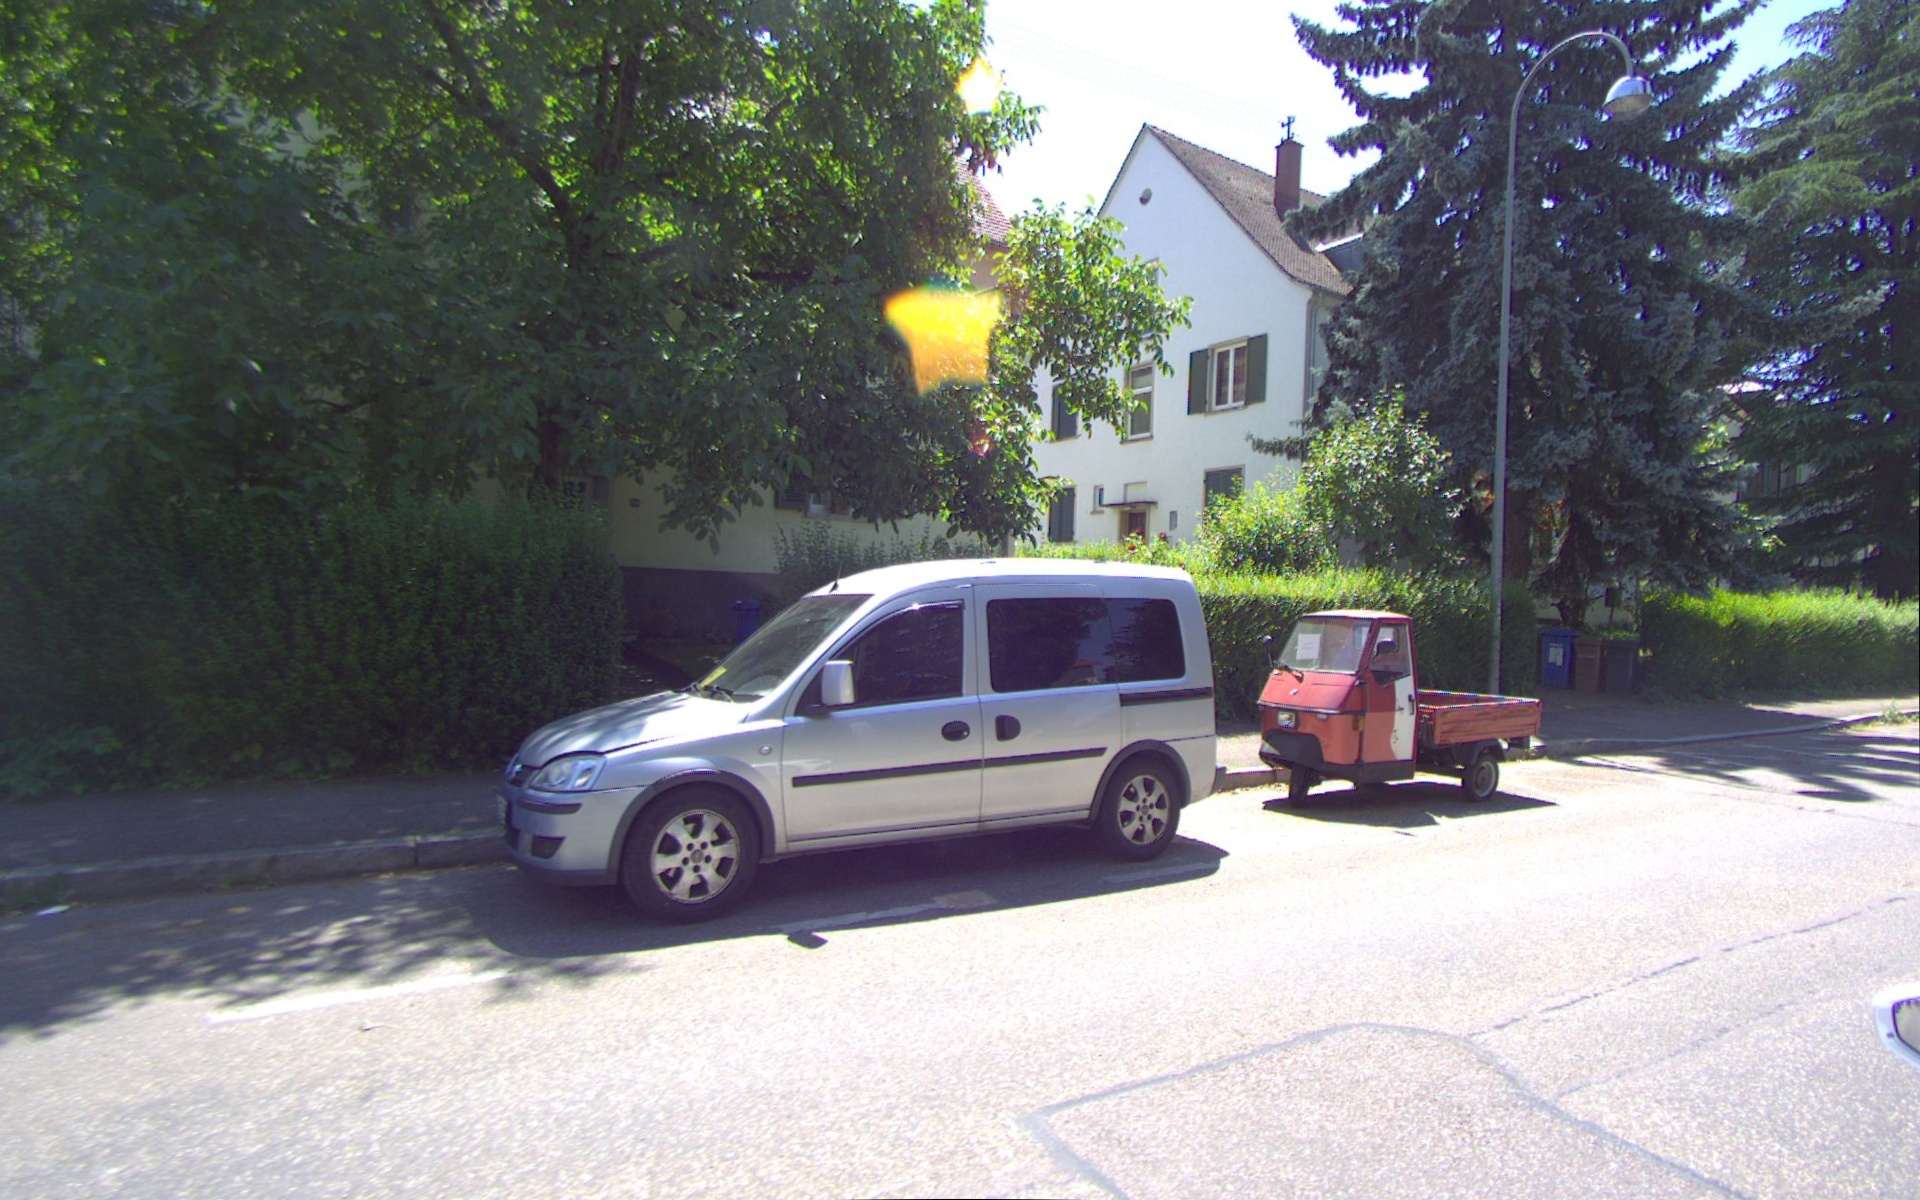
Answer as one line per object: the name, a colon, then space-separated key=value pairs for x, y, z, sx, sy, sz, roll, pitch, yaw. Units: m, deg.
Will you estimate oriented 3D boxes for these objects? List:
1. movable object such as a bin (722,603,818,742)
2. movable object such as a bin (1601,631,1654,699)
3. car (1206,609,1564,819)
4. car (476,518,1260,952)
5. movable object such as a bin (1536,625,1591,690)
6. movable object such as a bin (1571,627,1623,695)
movable object such as a bin: x=-1.884 y=0.691 z=9.946 sx=0.718 sy=1.312 sz=0.609 roll=1 pitch=0 yaw=-40
movable object such as a bin: x=11.327 y=1.092 z=17.045 sx=0.610 sy=1.080 sz=0.482 roll=0 pitch=4 yaw=-33
car: x=3.645 y=0.871 z=8.594 sx=2.806 sy=1.523 sz=1.405 roll=1 pitch=-2 yaw=-30
car: x=-0.396 y=0.617 z=5.906 sx=4.302 sy=1.775 sz=1.640 roll=2 pitch=-1 yaw=-30
movable object such as a bin: x=10.760 y=1.015 z=17.915 sx=0.638 sy=1.097 sz=0.536 roll=0 pitch=4 yaw=-33
movable object such as a bin: x=11.055 y=1.047 z=17.439 sx=0.635 sy=1.097 sz=0.482 roll=0 pitch=4 yaw=-33
